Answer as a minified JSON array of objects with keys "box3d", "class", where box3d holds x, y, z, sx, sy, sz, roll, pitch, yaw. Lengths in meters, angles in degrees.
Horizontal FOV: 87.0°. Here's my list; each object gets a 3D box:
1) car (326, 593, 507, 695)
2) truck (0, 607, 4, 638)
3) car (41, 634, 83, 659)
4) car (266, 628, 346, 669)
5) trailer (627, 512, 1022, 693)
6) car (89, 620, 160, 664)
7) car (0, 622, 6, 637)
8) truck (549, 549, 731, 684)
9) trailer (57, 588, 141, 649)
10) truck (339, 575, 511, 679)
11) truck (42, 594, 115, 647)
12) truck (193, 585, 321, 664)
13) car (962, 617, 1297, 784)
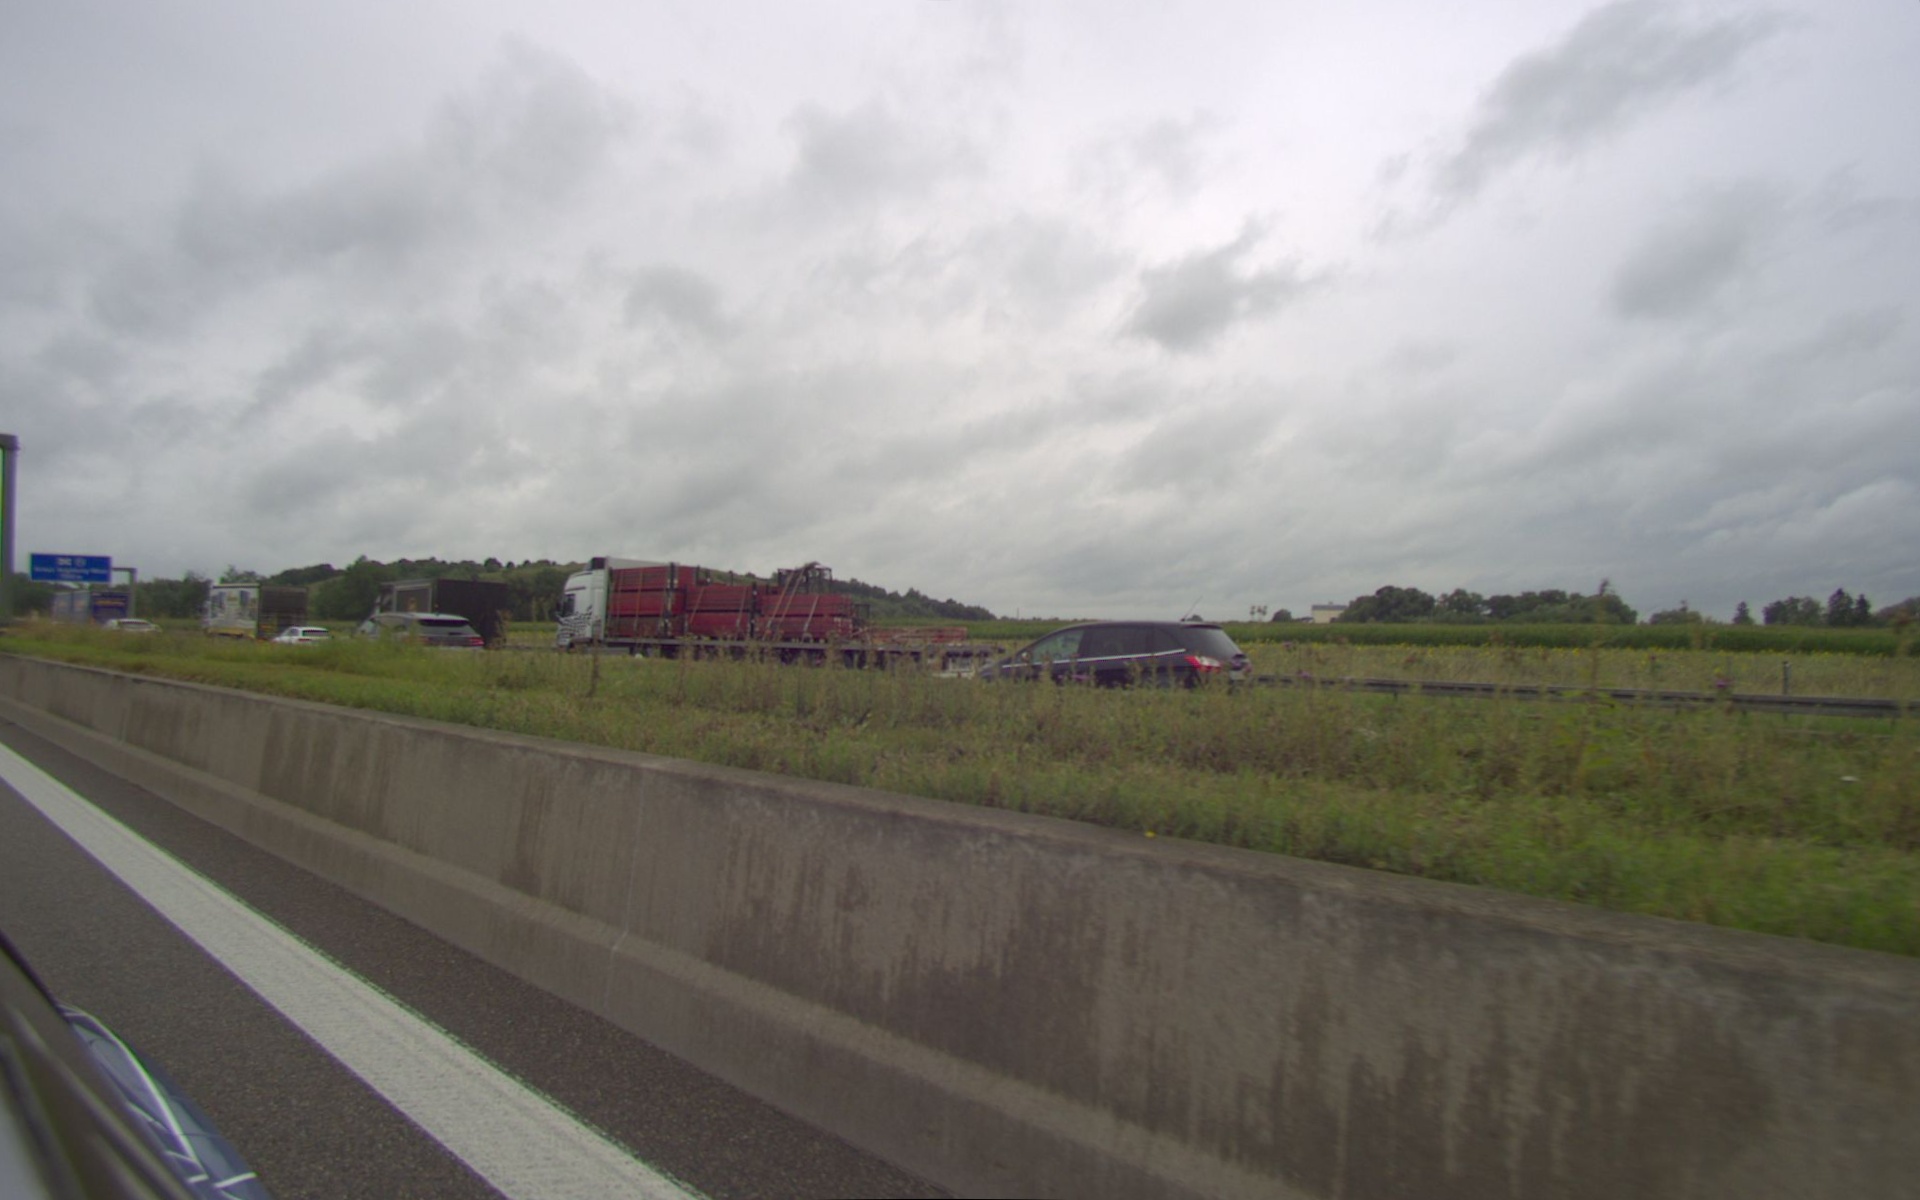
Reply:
[{"box3d":[-12.110,0.936,22.419,4.798,2.029,1.973,-1,-2,41],"class":"car"},{"box3d":[-129.429,2.976,133.953,10.806,3.997,3.150,-1,0,42],"class":"truck"},{"box3d":[-64.826,3.300,73.019,3.998,1.721,1.736,-1,-2,41],"class":"car"},{"box3d":[-31.578,2.295,48.818,4.835,1.730,1.973,-1,0,41],"class":"car"},{"box3d":[-4.076,0.239,25.958,12.186,3.754,2.613,-3,-1,41],"class":"trailer"},{"box3d":[-36.245,1.770,43.864,3.998,1.730,1.762,-1,0,41],"class":"car"},{"box3d":[-113.793,3.432,118.972,3.997,1.696,1.973,-1,0,41],"class":"car"},{"box3d":[-9.910,0.540,31.072,5.868,3.754,2.614,-3,-1,41],"class":"truck"},{"box3d":[-71.561,1.518,83.964,11.671,4.804,3.353,-1,0,40],"class":"trailer"},{"box3d":[-16.935,0.773,31.802,7.420,2.930,2.287,-1,0,41],"class":"truck"},{"box3d":[-77.880,1.753,89.320,10.985,4.396,3.377,-1,0,41],"class":"truck"},{"box3d":[-44.046,1.449,63.181,11.776,4.517,3.477,-1,0,39],"class":"truck"},{"box3d":[2.308,1.276,14.491,4.358,2.029,1.973,-1,-2,41],"class":"car"}]
